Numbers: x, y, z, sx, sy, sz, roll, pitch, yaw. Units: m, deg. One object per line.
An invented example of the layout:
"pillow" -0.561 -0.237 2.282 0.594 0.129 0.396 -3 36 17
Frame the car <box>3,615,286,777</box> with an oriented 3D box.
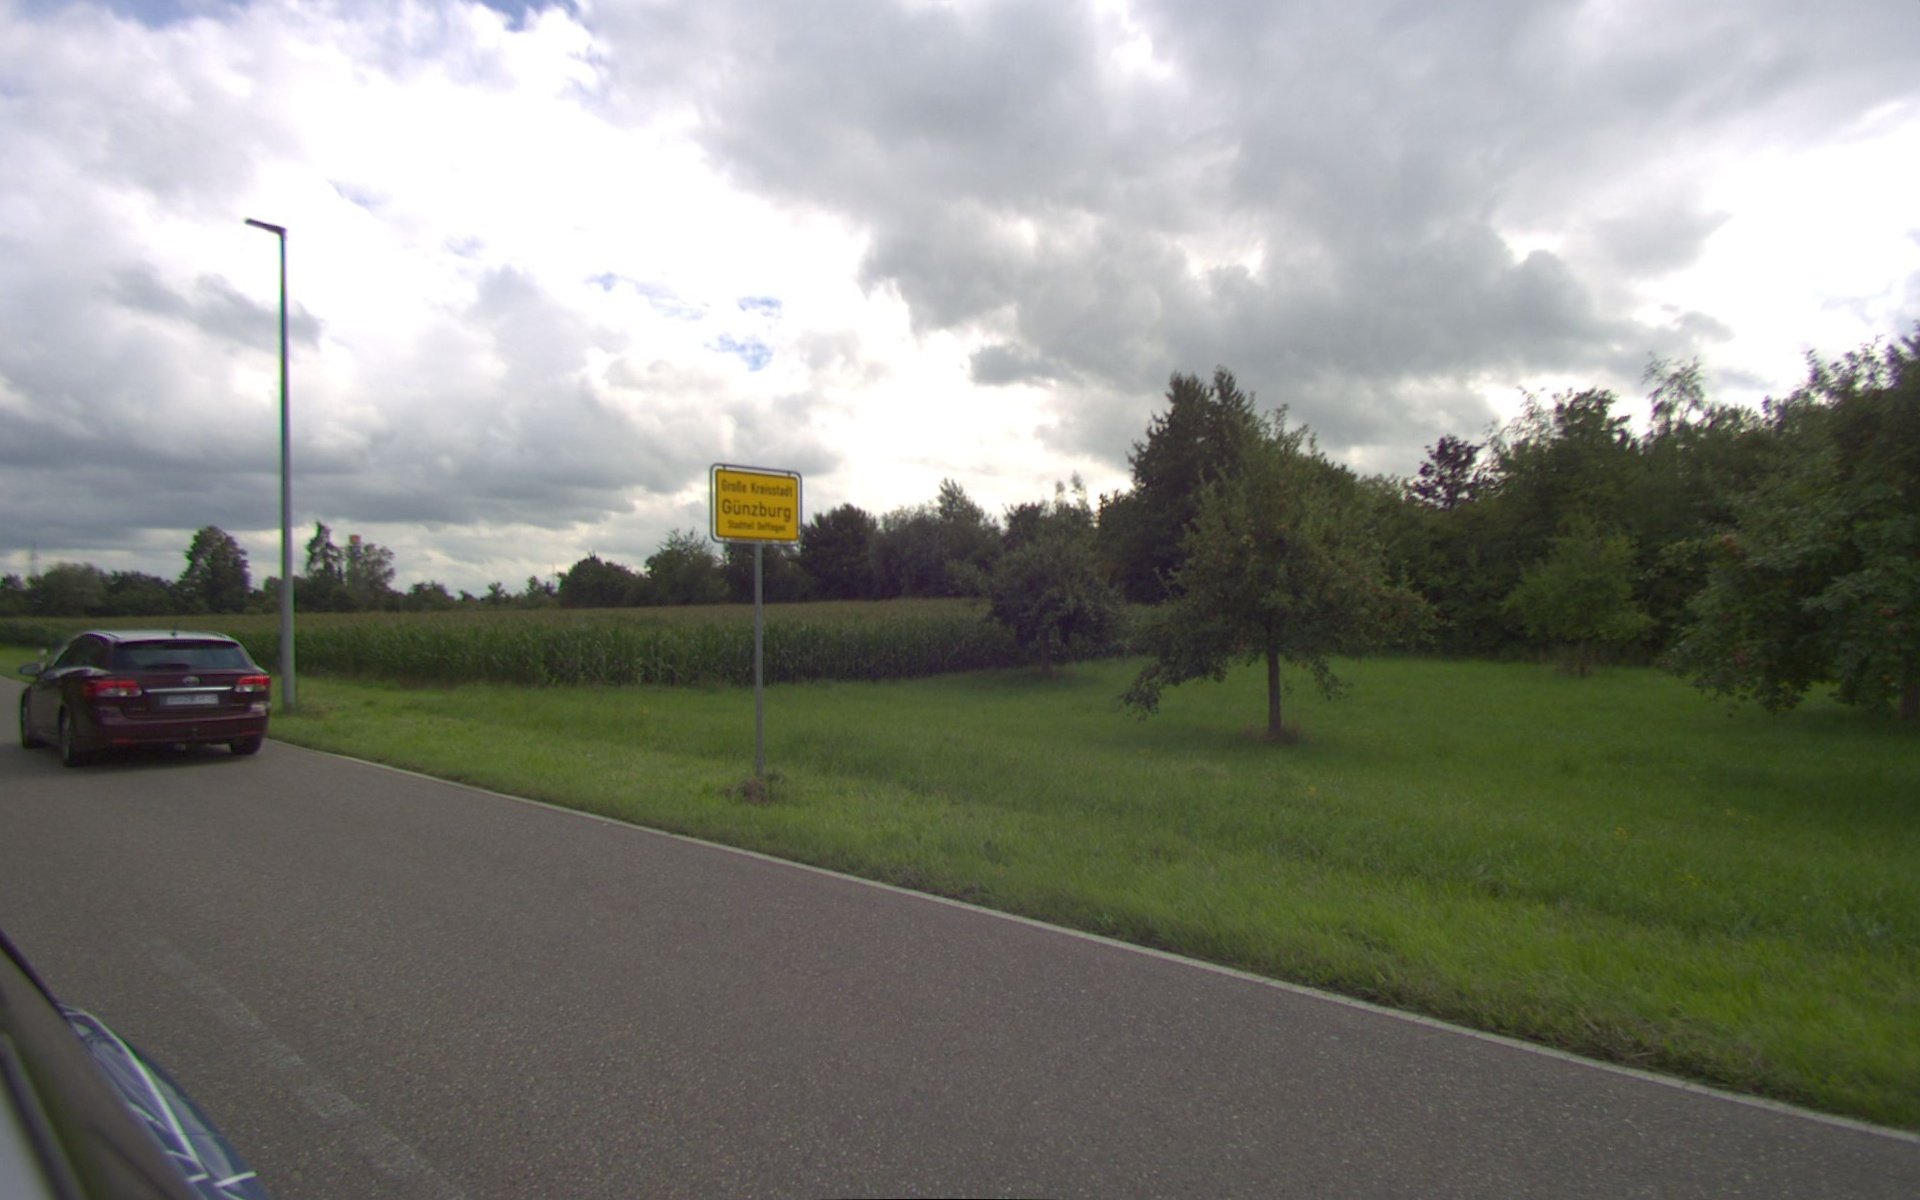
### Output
"car" -9.646 1.002 11.866 4.179 1.564 1.845 -2 -3 41
